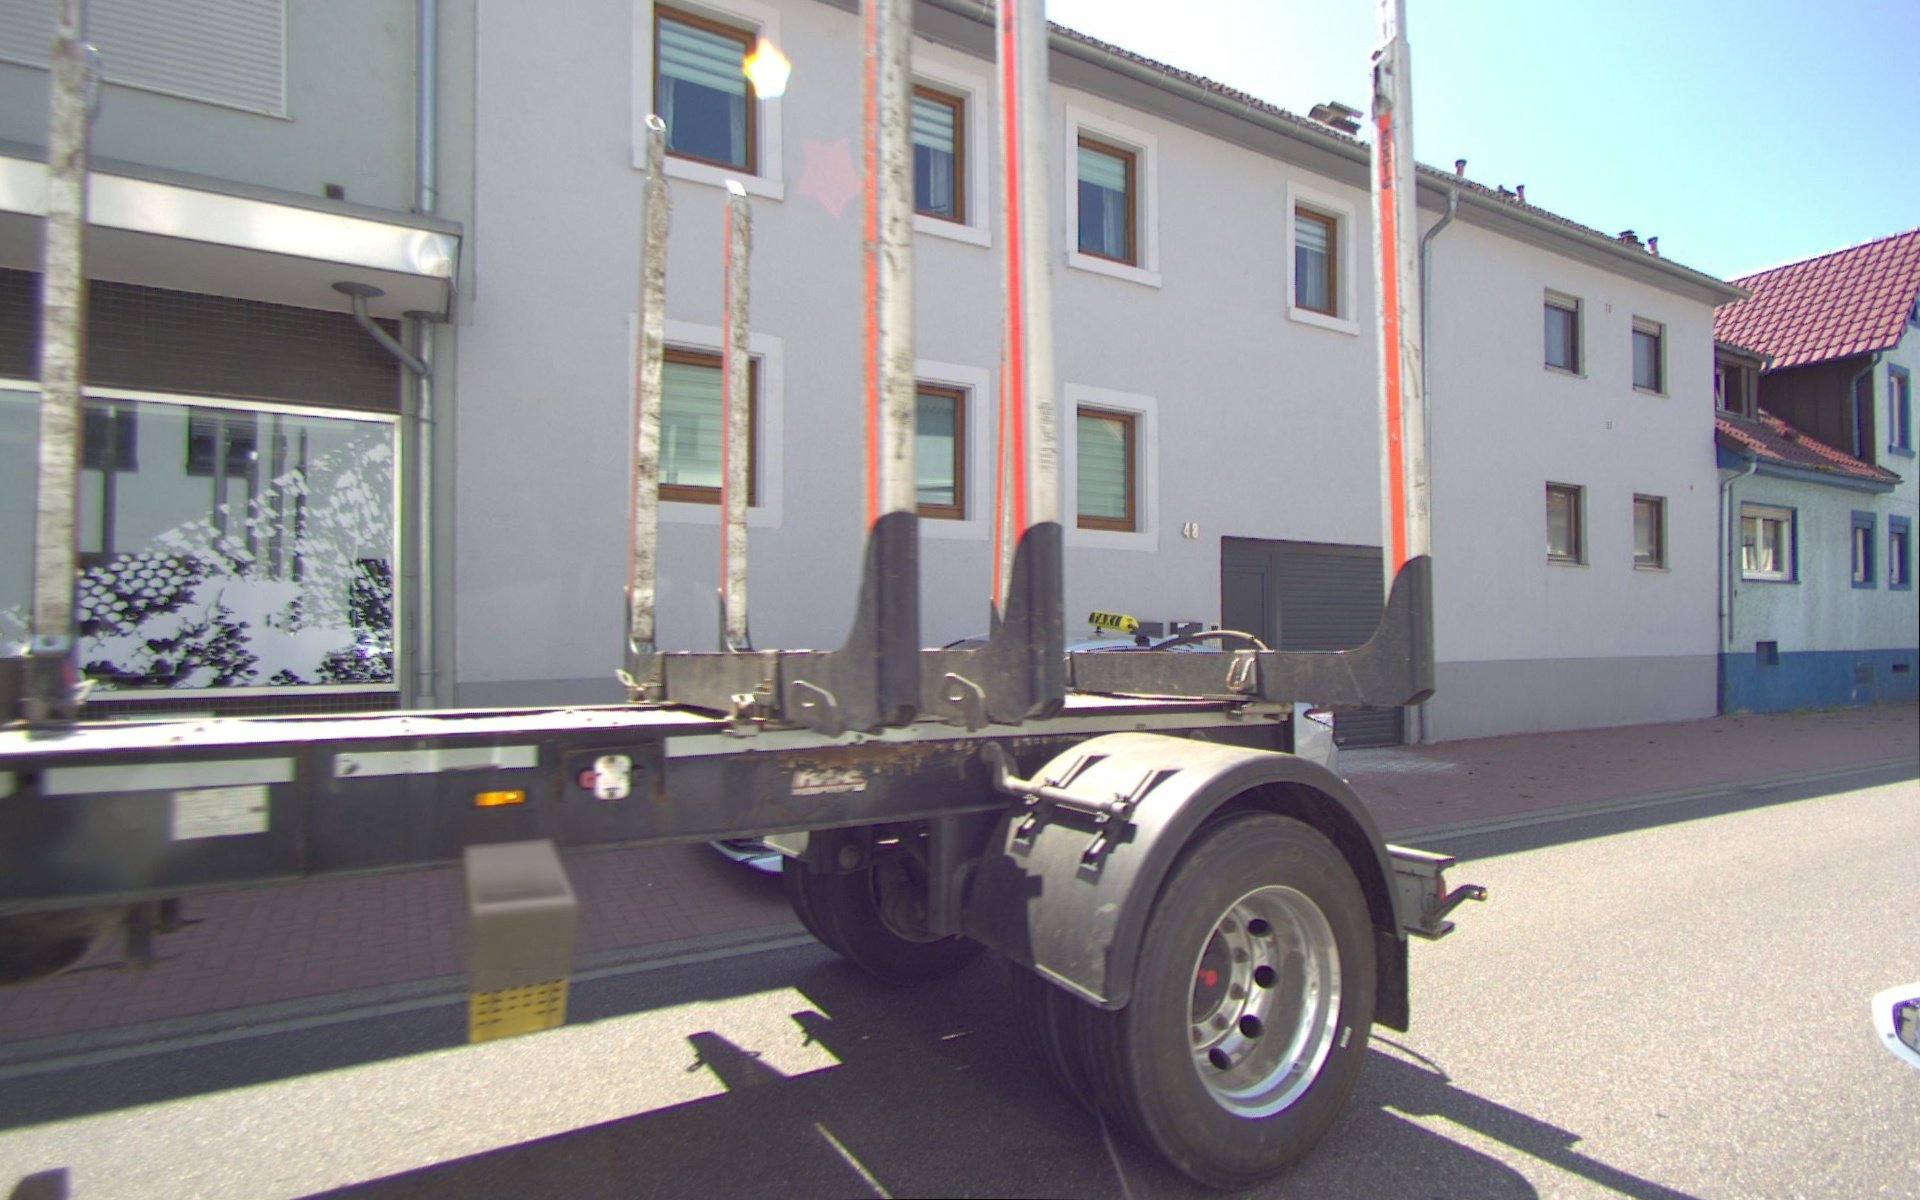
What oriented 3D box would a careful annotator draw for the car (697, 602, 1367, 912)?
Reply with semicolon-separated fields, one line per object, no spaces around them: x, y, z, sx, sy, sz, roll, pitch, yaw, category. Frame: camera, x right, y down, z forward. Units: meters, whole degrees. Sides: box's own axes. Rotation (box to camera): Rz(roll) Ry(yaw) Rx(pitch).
0.624;0.860;7.142;4.510;1.578;1.800;1;1;-30;car

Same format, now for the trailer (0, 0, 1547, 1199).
-5.530;-0.604;0.161;15.520;4.031;2.618;1;-3;-32;trailer
